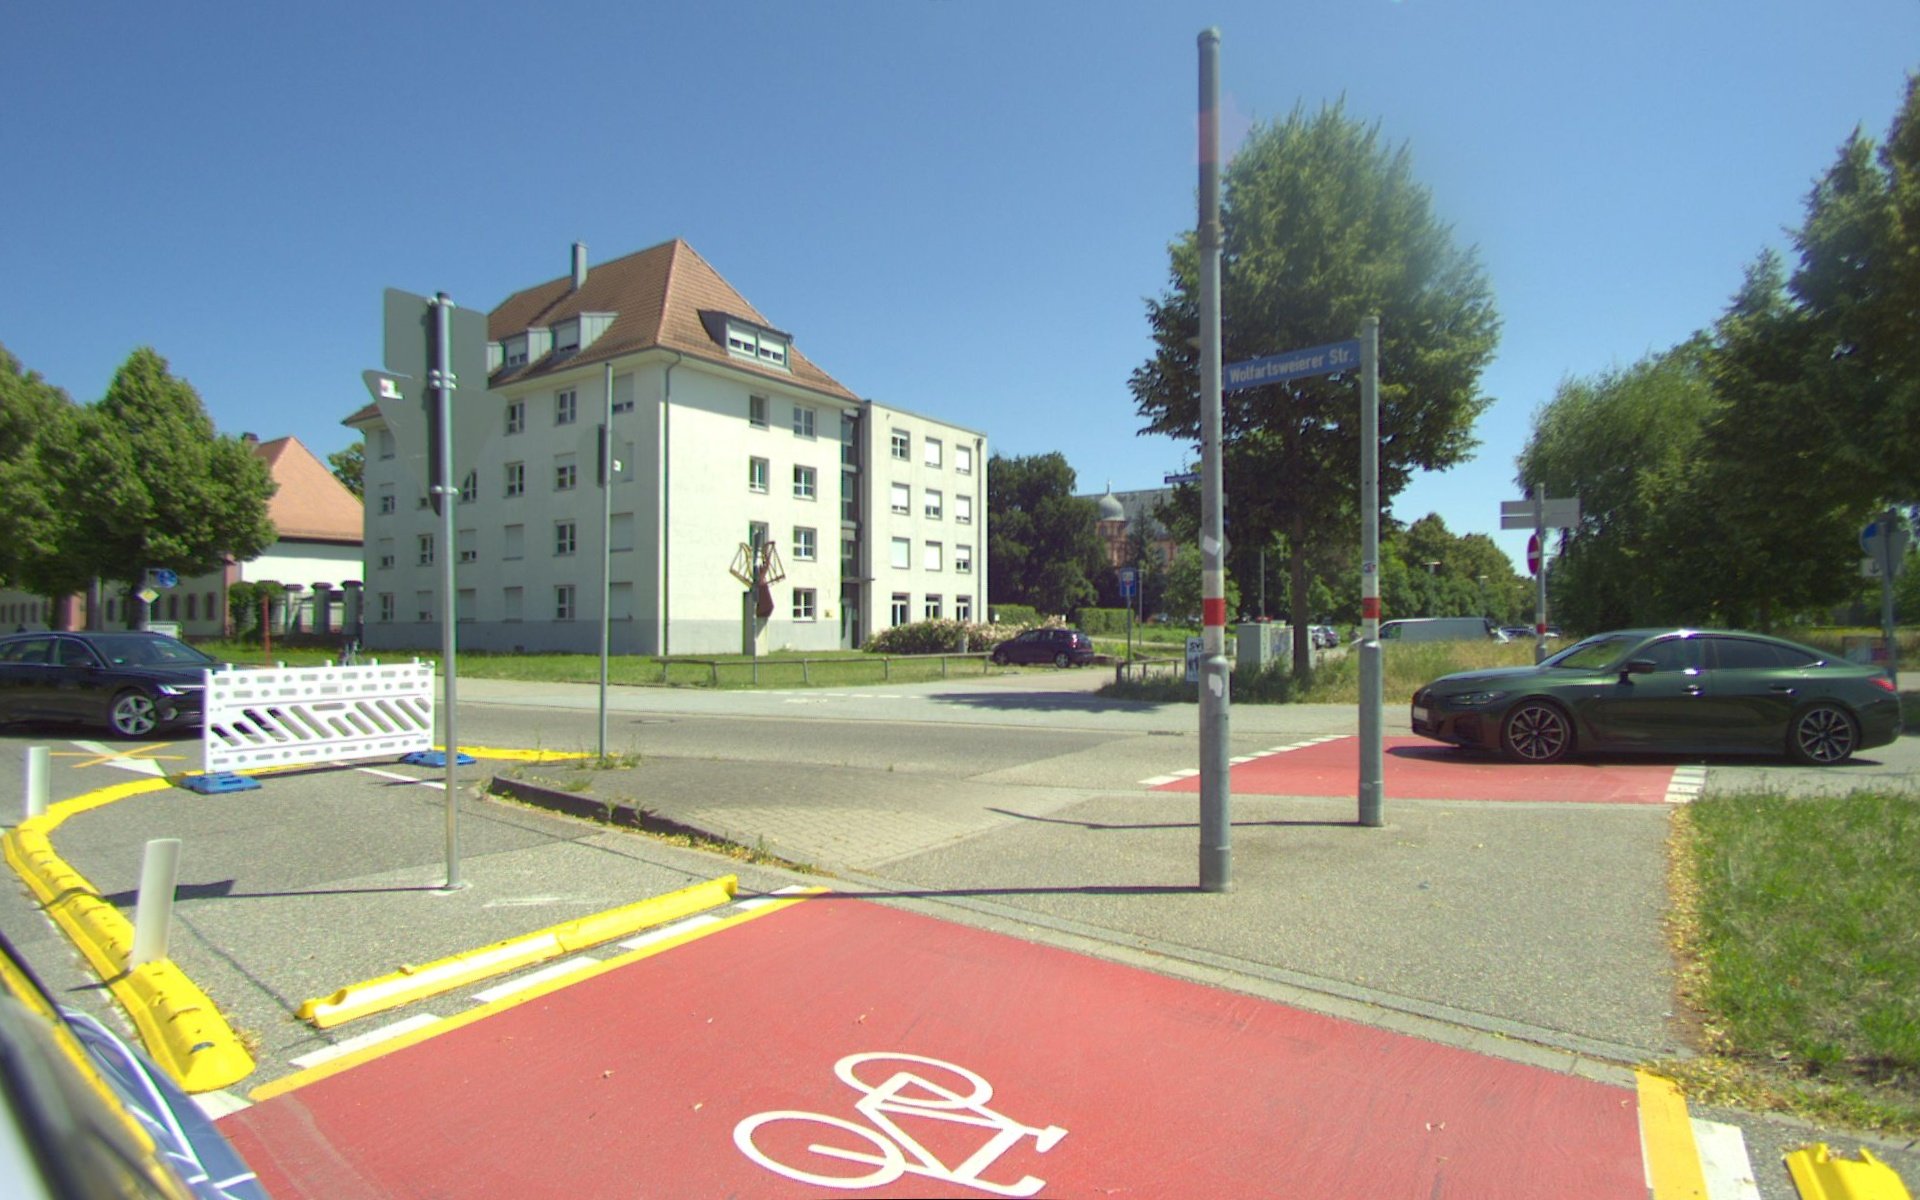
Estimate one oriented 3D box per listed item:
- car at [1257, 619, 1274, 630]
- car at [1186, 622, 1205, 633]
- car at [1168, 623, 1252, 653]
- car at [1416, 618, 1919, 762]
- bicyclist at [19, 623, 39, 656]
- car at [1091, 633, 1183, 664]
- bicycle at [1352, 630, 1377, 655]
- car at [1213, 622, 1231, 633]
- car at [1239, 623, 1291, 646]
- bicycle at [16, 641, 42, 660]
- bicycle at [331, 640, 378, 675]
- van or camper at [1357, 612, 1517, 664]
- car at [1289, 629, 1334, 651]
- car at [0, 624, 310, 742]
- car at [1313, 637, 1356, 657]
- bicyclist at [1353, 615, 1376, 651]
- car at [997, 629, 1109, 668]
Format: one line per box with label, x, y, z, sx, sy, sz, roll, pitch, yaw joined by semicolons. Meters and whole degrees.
car;38.229;3.088;126.604;1.473;1.427;2.996;-2;-2;30
car;30.430;3.572;130.763;1.473;1.427;2.996;-2;-2;30
car;12.573;1.904;50.978;3.800;1.336;1.640;1;0;36
car;7.698;0.941;11.101;4.555;1.423;1.722;-1;-2;2
bicyclist;-46.020;1.962;50.024;0.739;1.623;0.562;-2;-2;36
car;7.274;1.995;41.711;3.506;1.227;1.340;-2;-2;36
bicycle;18.819;1.953;47.119;0.550;1.121;1.654;1;-1;41
car;33.613;3.514;129.898;1.473;1.427;2.996;-2;-2;30
car;18.364;2.067;61.013;2.747;1.367;1.156;-2;-3;42
bicycle;-45.979;2.491;49.975;1.904;0.922;0.556;-2;-2;36
bicycle;-19.586;1.851;32.701;1.984;1.032;0.700;-1;1;41
van or camper;18.118;1.453;38.540;5.260;1.871;1.976;-2;-2;35
car;22.511;2.570;64.816;2.528;1.368;1.069;-2;-2;42
car;-11.773;1.127;14.289;4.575;1.462;1.793;-1;-1;15
car;25.299;3.169;68.415;2.528;1.368;1.069;-2;-2;42
bicyclist;18.833;1.533;47.135;0.715;1.650;0.961;1;-1;41
car;3.384;1.760;37.026;3.800;1.337;1.639;-2;-2;36
